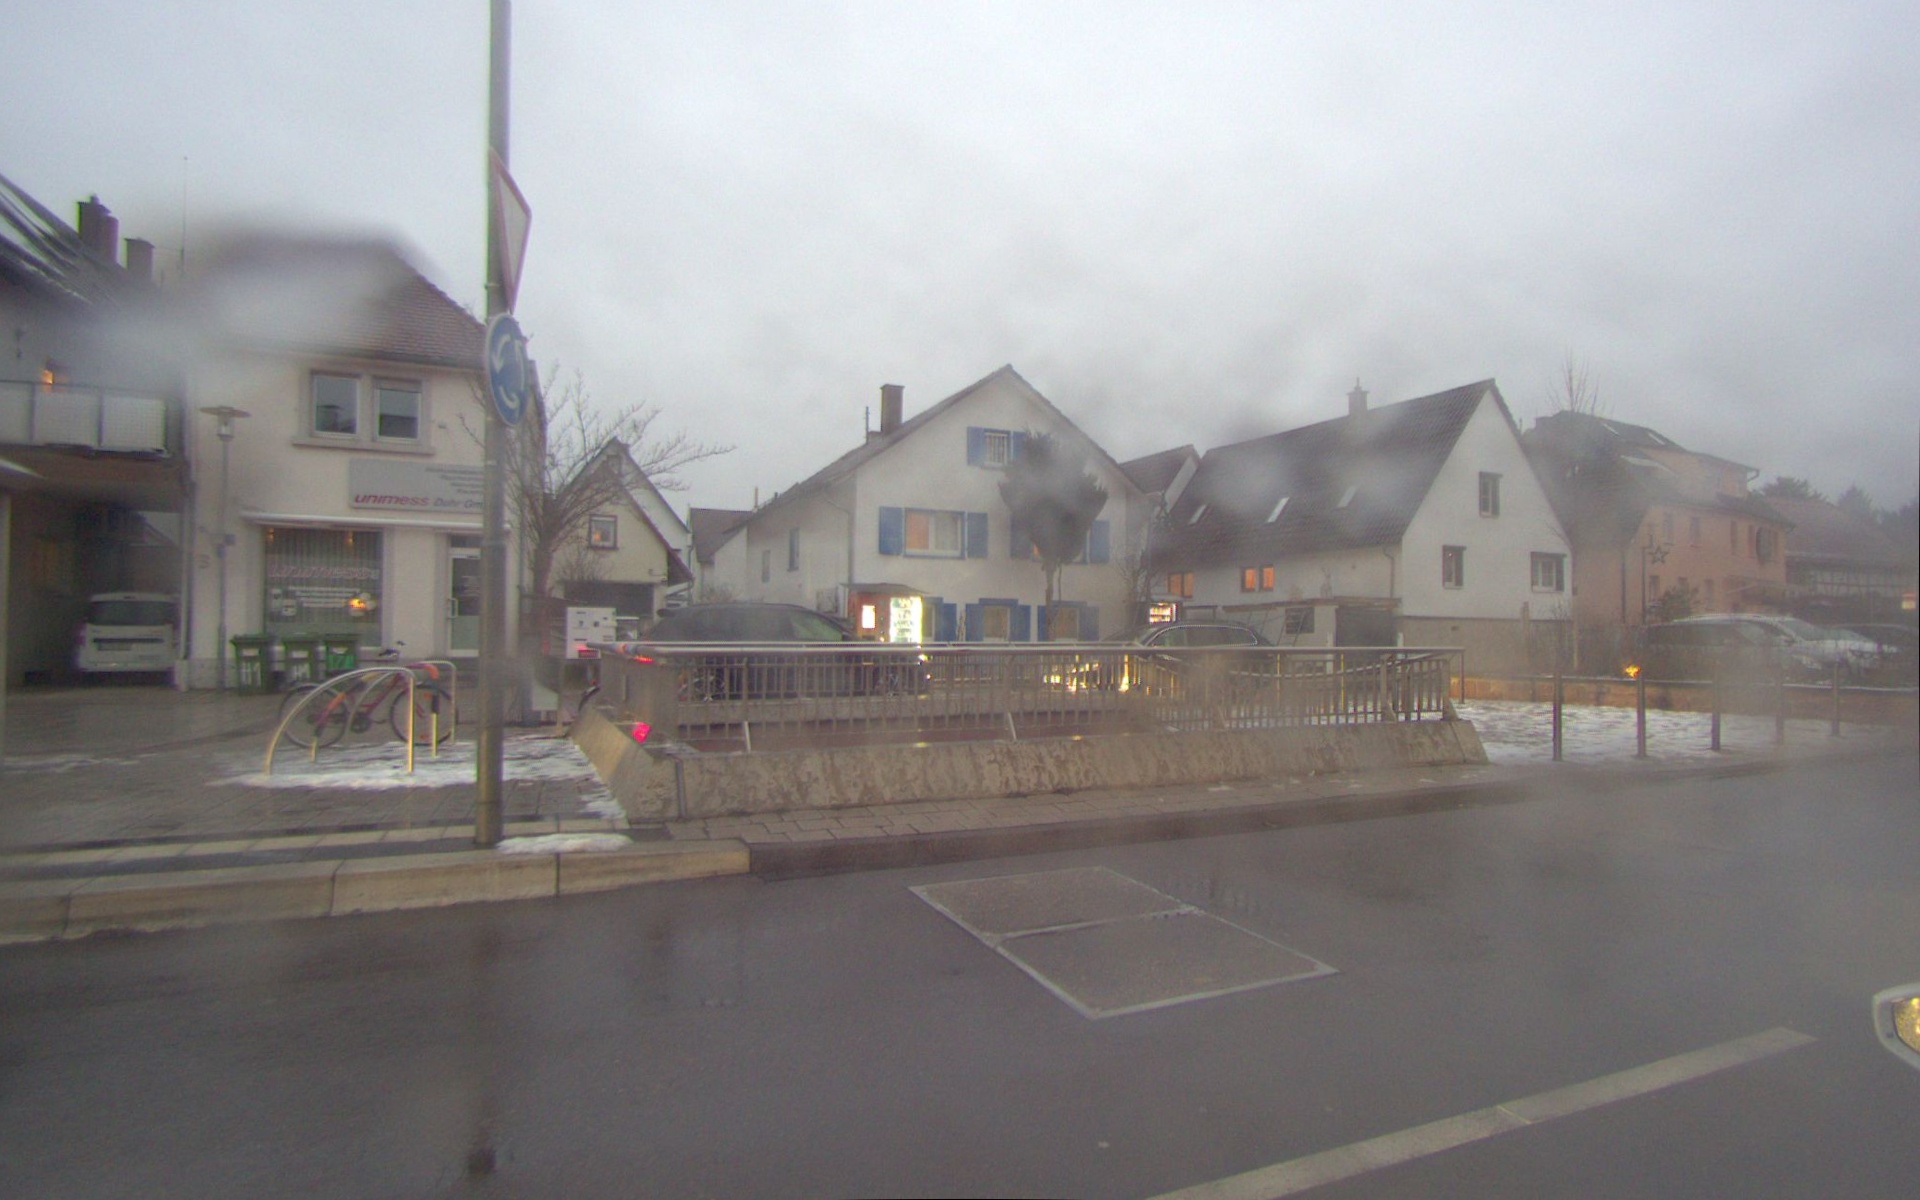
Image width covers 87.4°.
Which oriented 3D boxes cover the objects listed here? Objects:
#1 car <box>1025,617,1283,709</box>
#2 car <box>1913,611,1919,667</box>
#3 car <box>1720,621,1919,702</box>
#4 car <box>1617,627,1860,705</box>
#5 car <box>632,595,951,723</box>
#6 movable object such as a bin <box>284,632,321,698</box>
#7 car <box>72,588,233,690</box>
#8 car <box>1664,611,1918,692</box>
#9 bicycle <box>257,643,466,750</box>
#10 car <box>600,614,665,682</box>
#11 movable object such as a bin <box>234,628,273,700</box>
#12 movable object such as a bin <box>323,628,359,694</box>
[{"bbox_3d":[3.575,1.093,18.351,4.514,1.502,1.796,0,-3,-28],"label":"car"},{"bbox_3d":[31.236,1.205,29.356,1.978,1.689,4.601,2,-1,-32],"label":"car"},{"bbox_3d":[19.794,1.321,22.570,1.566,1.629,4.080,2,-1,-26],"label":"car"},{"bbox_3d":[15.094,1.226,19.643,1.582,1.390,3.428,1,-2,-30],"label":"car"},{"bbox_3d":[-2.554,0.863,15.307,4.501,1.723,1.751,0,-3,-24],"label":"car"},{"bbox_3d":[-11.616,1.143,17.747,0.447,1.135,0.286,3,-1,-25],"label":"movable object such as a bin"},{"bbox_3d":[-16.180,0.786,20.317,1.491,1.877,3.411,2,-2,-21],"label":"car"},{"bbox_3d":[17.355,1.021,21.190,1.690,1.543,3.785,2,-1,-23],"label":"car"},{"bbox_3d":[-5.960,0.947,10.076,1.709,1.023,0.470,1,-1,-14],"label":"bicycle"},{"bbox_3d":[-10.593,1.548,32.343,1.810,2.045,3.566,0,-3,-21],"label":"car"},{"bbox_3d":[-12.259,1.109,17.444,0.447,1.225,0.286,3,-1,-25],"label":"movable object such as a bin"},{"bbox_3d":[-11.069,1.090,17.975,0.447,1.157,0.286,3,-1,-25],"label":"movable object such as a bin"}]
